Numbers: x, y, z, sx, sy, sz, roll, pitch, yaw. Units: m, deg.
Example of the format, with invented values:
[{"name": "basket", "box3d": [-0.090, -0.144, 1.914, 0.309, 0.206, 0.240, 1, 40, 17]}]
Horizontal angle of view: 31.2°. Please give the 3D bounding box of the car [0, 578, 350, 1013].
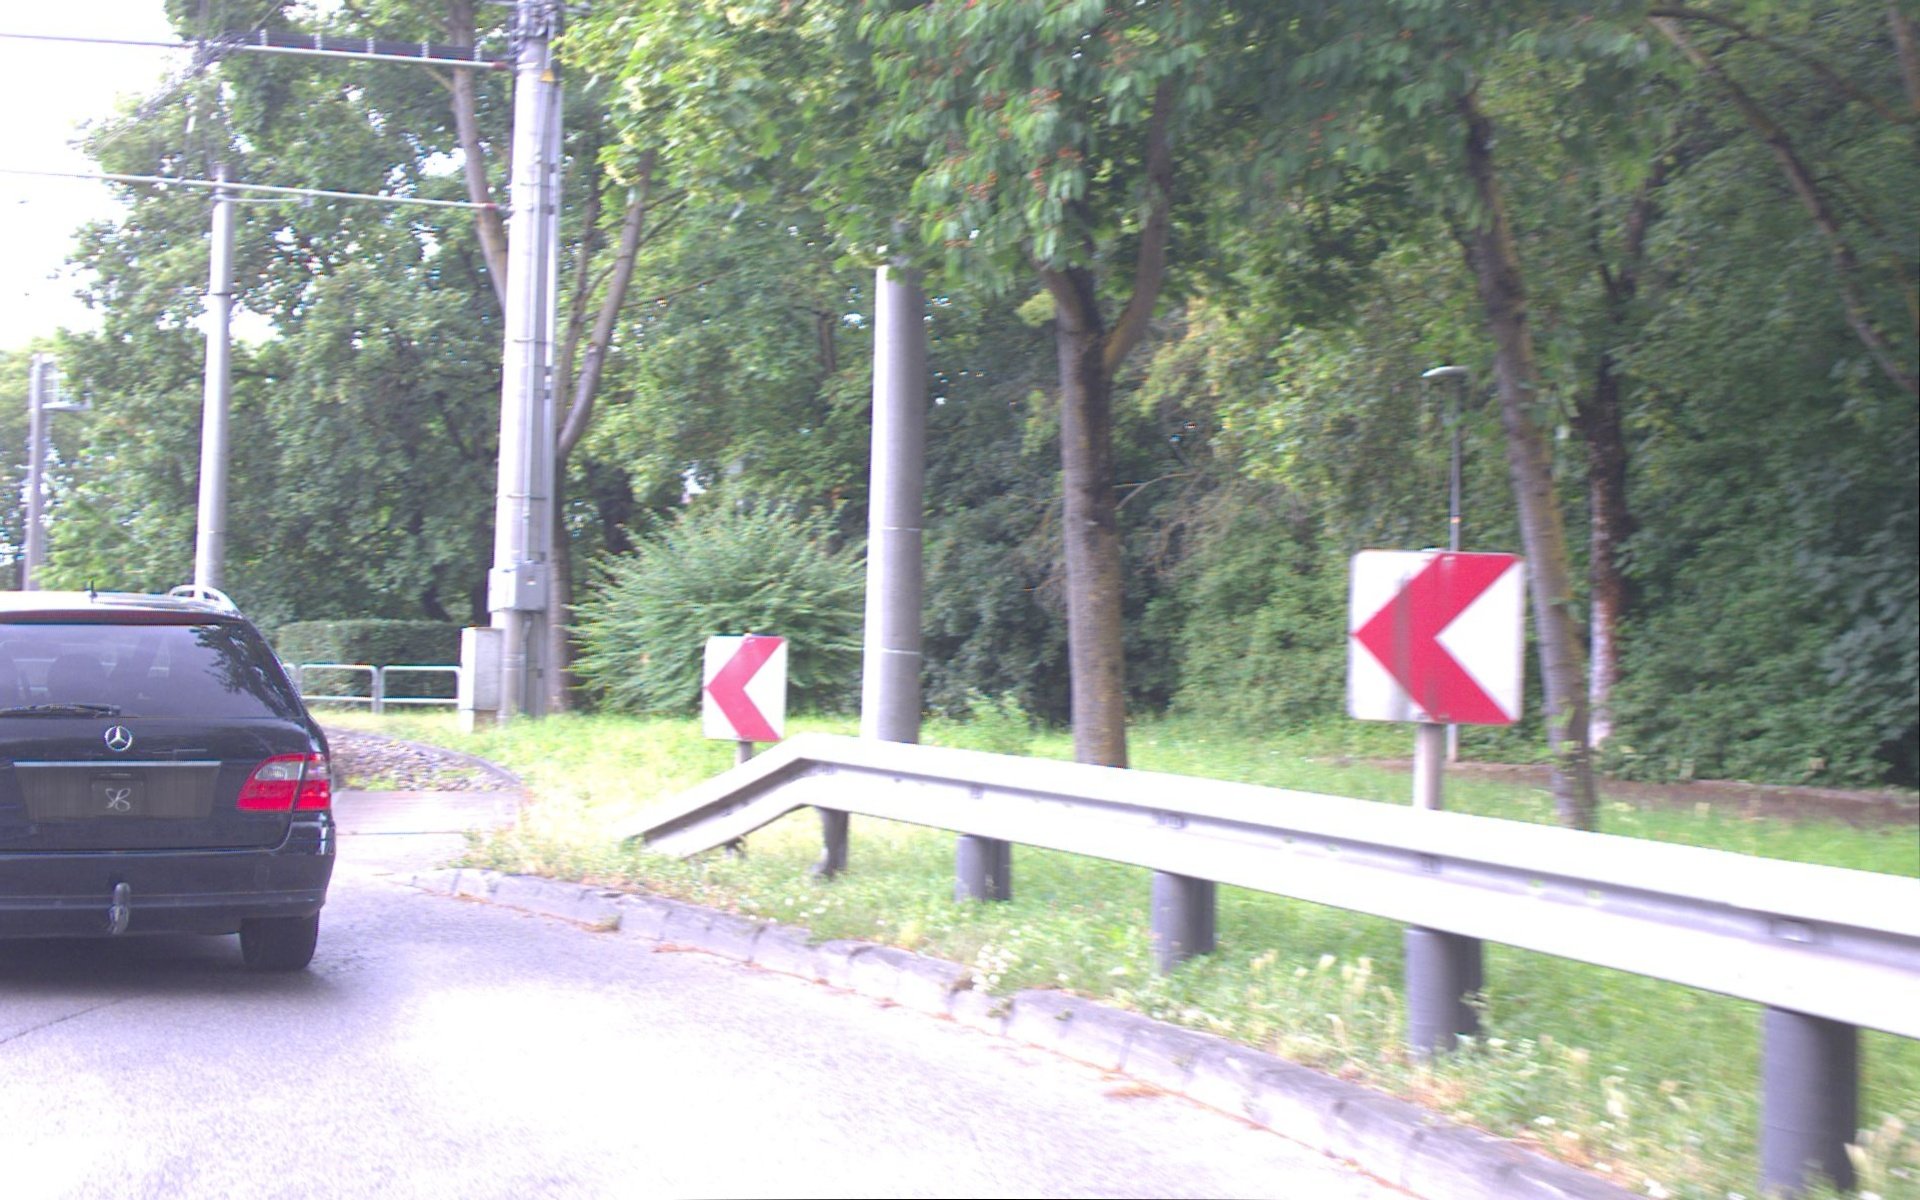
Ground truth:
[{"name": "car", "box3d": [-3.827, 0.676, 14.170, 1.758, 1.510, 4.443, 0, 0, -21]}]
